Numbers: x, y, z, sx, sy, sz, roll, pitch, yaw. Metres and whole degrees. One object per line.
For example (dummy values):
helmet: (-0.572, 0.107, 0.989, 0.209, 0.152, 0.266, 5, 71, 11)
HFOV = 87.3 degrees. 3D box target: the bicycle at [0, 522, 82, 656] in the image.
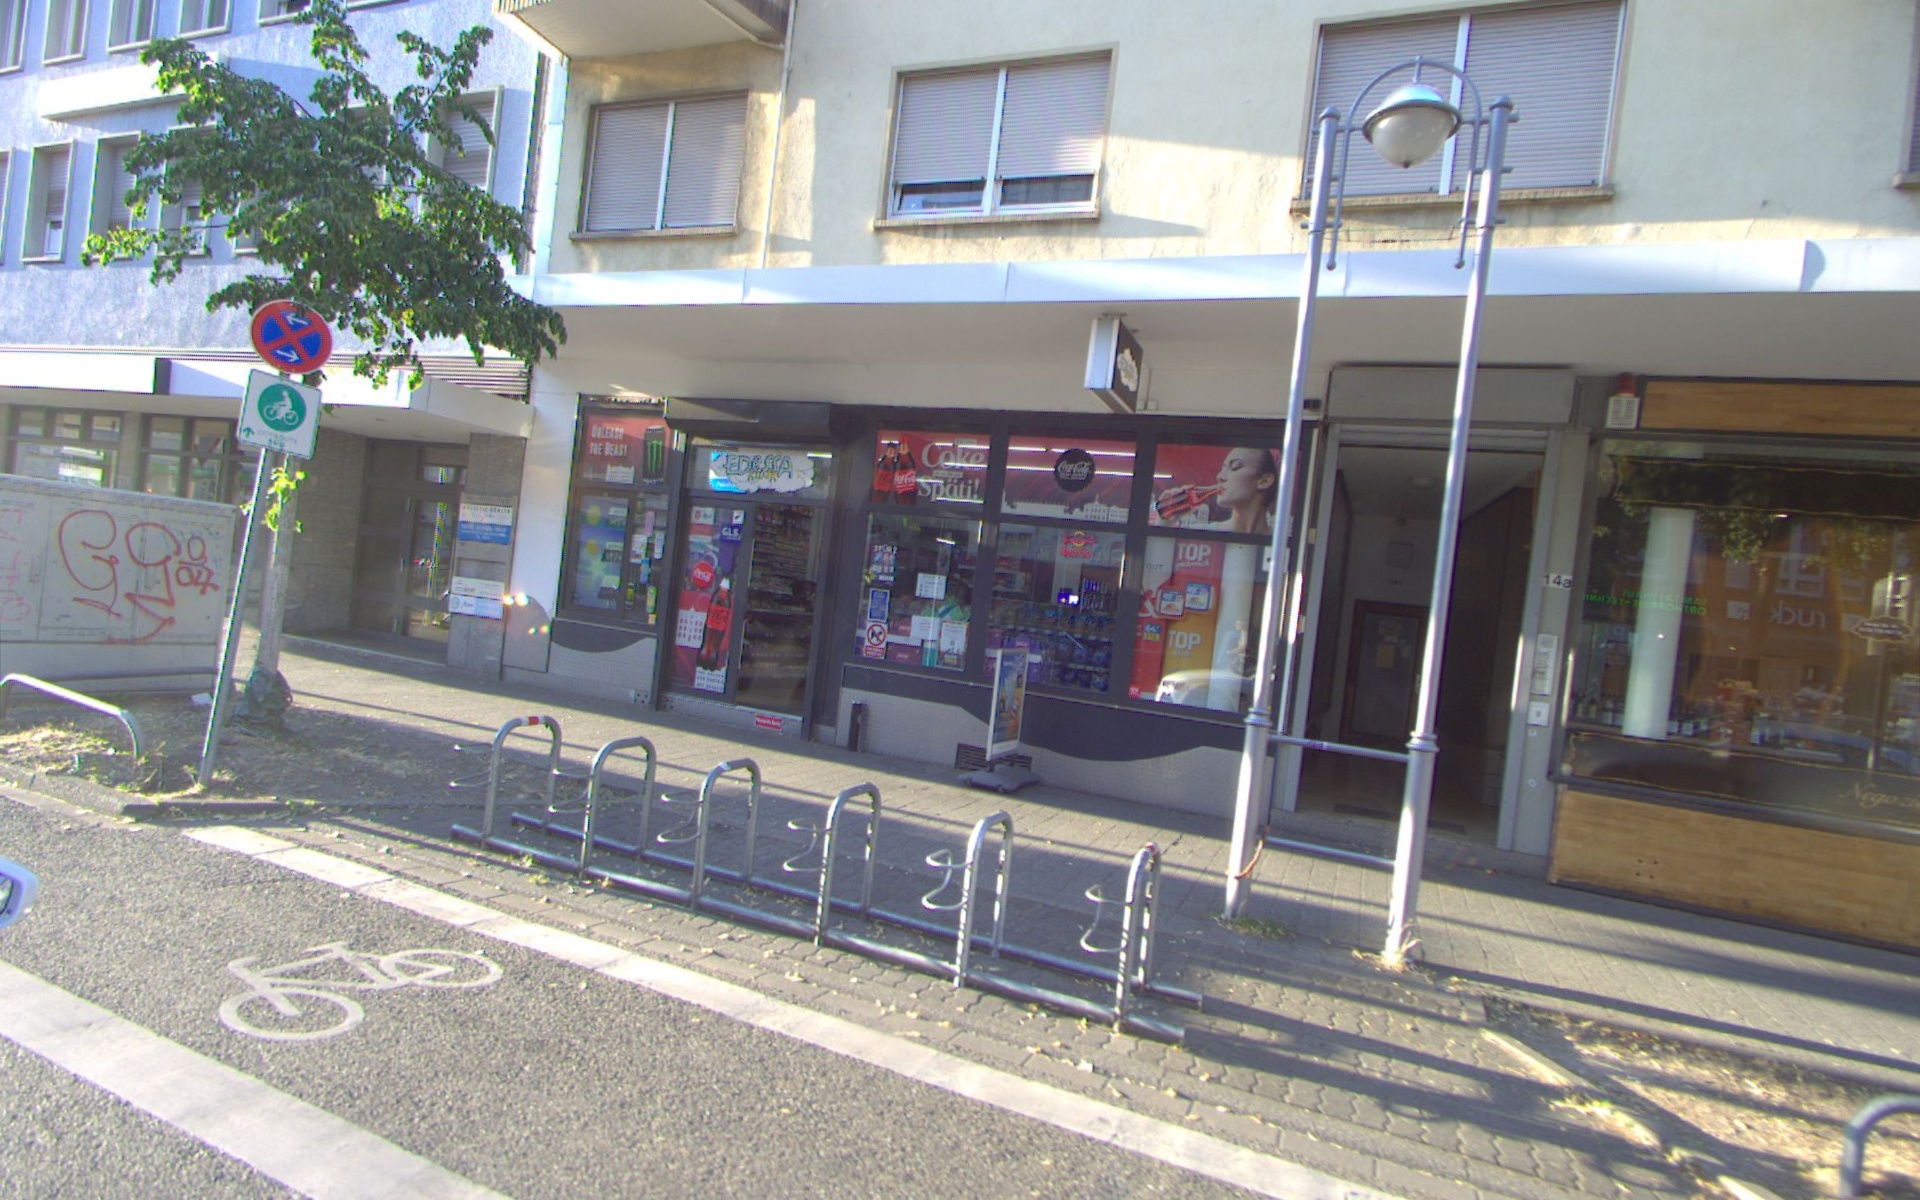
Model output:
bicycle: (-8.963, -0.127, 8.979, 0.484, 1.208, 1.663, 7, 0, 11)
